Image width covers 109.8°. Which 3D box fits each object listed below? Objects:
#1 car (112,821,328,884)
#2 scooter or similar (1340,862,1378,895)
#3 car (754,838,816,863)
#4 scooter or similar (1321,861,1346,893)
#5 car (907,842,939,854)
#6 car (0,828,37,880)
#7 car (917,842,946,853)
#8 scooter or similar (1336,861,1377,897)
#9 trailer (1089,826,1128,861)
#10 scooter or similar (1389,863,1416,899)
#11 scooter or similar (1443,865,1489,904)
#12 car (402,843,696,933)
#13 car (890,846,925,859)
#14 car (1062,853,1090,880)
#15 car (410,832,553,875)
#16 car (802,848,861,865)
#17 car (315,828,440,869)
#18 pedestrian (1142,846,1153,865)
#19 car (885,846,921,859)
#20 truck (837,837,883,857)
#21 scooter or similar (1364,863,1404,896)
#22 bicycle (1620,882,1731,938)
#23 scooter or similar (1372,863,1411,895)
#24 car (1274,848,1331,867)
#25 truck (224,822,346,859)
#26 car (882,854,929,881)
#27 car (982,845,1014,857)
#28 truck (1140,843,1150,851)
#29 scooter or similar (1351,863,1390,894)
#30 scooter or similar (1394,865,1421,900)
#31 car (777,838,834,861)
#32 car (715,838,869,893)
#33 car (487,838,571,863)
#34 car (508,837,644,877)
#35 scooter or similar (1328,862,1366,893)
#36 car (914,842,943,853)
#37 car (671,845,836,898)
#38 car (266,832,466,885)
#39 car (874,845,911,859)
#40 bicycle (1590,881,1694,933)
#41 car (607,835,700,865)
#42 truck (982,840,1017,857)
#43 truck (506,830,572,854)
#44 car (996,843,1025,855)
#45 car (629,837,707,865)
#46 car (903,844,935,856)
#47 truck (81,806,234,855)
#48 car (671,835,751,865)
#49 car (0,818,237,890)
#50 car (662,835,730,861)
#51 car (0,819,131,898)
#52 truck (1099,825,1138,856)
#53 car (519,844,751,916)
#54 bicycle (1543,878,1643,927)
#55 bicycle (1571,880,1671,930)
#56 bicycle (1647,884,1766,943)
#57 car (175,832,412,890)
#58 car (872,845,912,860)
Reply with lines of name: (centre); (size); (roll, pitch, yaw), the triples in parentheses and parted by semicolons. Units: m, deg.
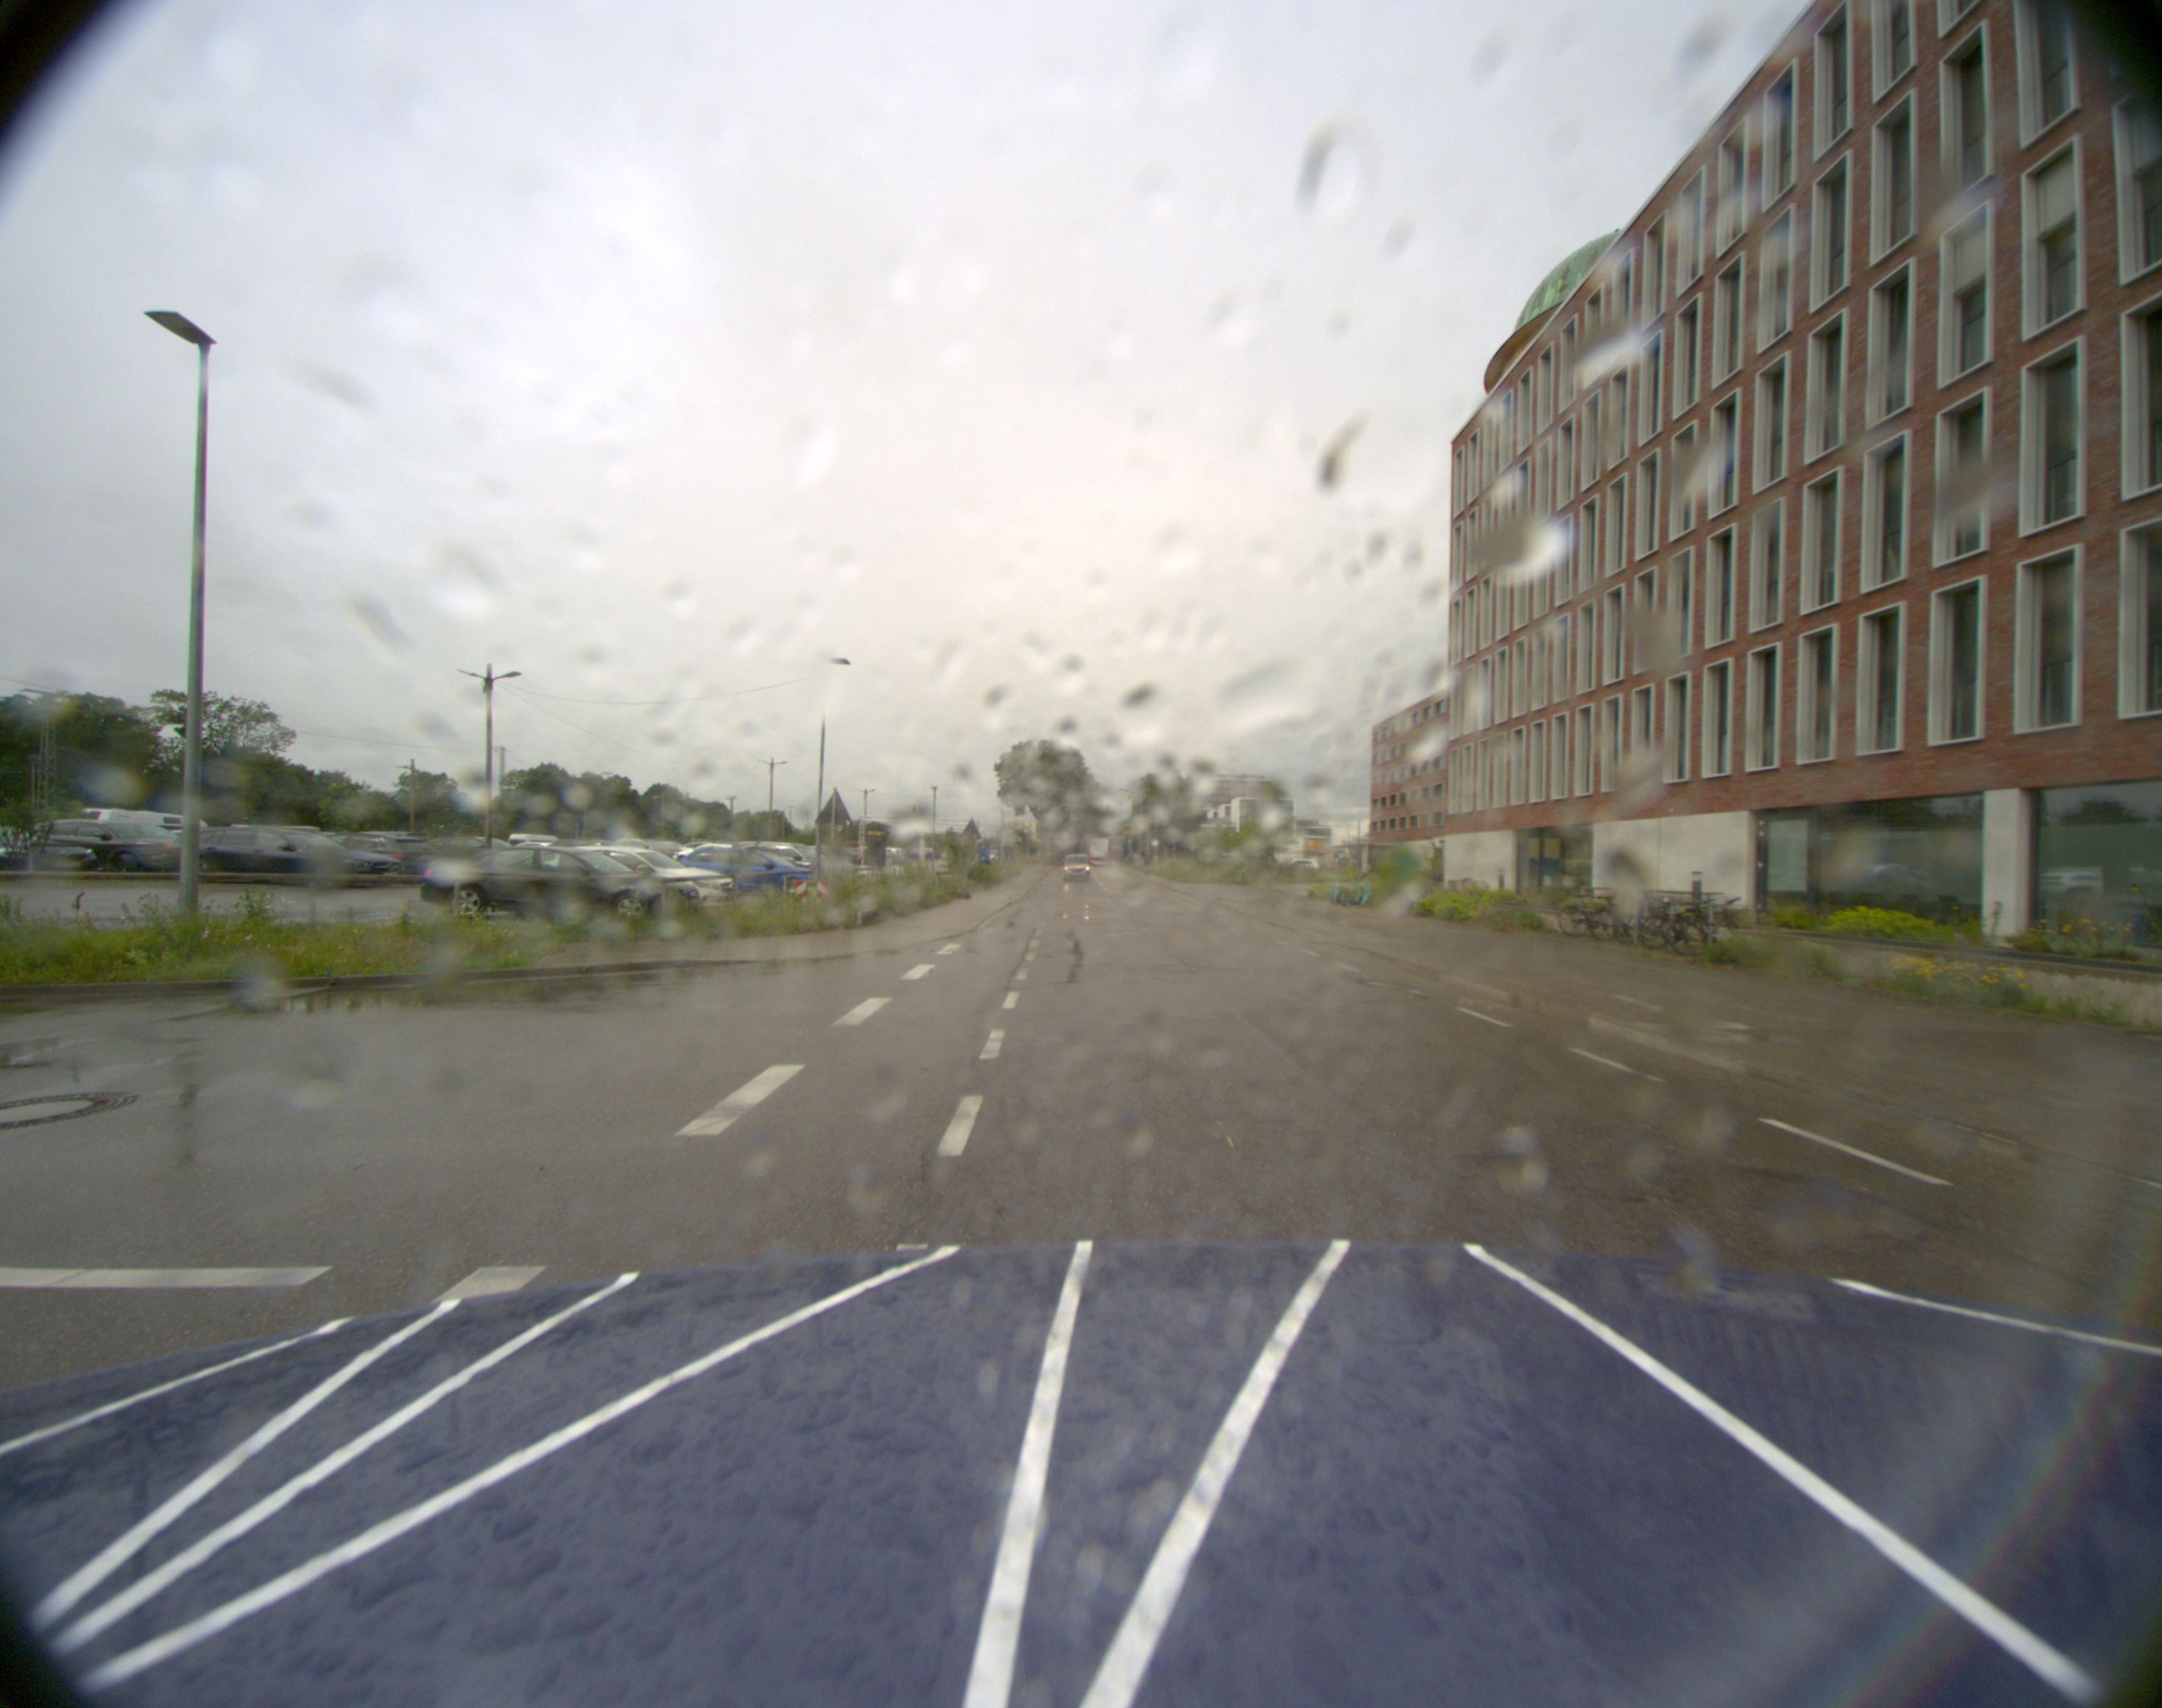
car: (-27.182, -0.067, 24.112); (4.453, 1.663, 2.043); (3, 2, -1)
scooter or similar: (10.666, 0.931, 29.182); (0.468, 1.223, 1.317); (2, 1, -29)
car: (-22.184, -0.286, 57.006); (3.912, 1.575, 1.786); (4, 2, 2)
scooter or similar: (10.115, 0.921, 30.465); (0.467, 1.223, 1.320); (2, 0, -4)
car: (-22.597, -0.877, 108.560); (4.075, 1.482, 1.925); (3, 2, 1)
car: (-38.316, -0.056, 25.283); (4.001, 1.718, 1.896); (2, 0, -10)
car: (-23.025, -1.004, 117.332); (3.996, 1.441, 1.842); (3, 2, 1)
scooter or similar: (10.075, 0.902, 27.836); (1.317, 1.223, 0.468); (2, 1, 28)
trailer: (4.089, -1.398, 109.117); (3.299, 4.627, 13.744); (2, 1, 11)
scooter or similar: (11.546, 0.965, 27.262); (0.466, 1.223, 1.211); (3, 1, 42)
scooter or similar: (12.481, 0.991, 24.672); (1.228, 1.201, 0.418); (2, 1, 7)
car: (-10.088, 0.632, 14.756); (4.231, 1.392, 1.888); (3, 1, -9)
car: (-22.298, -0.169, 97.494); (3.961, 1.419, 1.886); (3, 2, 1)
car: (-0.373, 0.872, 52.534); (1.838, 1.713, 4.172); (2, -1, -1)
car: (-26.660, -0.053, 33.911); (4.714, 1.596, 2.043); (3, 2, -1)
car: (-22.249, 0.199, 67.976); (4.600, 1.214, 1.977); (3, 1, -2)
car: (-37.747, -0.302, 40.867); (4.796, 1.987, 2.021); (2, 0, 0)
pedestrian: (6.237, 0.148, 71.202); (0.911, 1.708, 1.026); (1, 1, -1)
car: (-22.149, -0.204, 94.432); (3.961, 1.419, 1.886); (3, 2, 1)
truck: (-28.350, -0.837, 97.631); (5.302, 2.354, 2.152); (2, 1, -1)
scooter or similar: (11.271, 0.952, 28.284); (1.321, 1.171, 0.467); (2, 1, -12)
bicycle: (12.021, 1.132, 15.387); (1.864, 1.071, 0.544); (0, 1, -2)
scooter or similar: (12.082, 0.973, 29.588); (1.319, 1.171, 0.467); (2, 1, 5)
car: (19.881, 0.309, 68.366); (4.534, 1.632, 1.999); (1, 1, -3)
truck: (-49.698, -0.791, 47.609); (2.076, 2.125, 5.085); (2, 0, 4)
car: (-10.200, 0.762, 44.398); (1.900, 1.448, 4.226); (1, 0, -2)
car: (-10.365, -0.415, 94.930); (3.782, 1.385, 1.905); (0, 2, -3)
truck: (19.814, -2.226, 236.239); (2.090, 2.604, 6.975); (2, 1, -2)
scooter or similar: (11.475, 0.977, 30.143); (1.319, 1.171, 0.467); (2, 1, 5)
scooter or similar: (11.378, 0.985, 26.444); (0.466, 1.201, 1.211); (3, 1, 42)
car: (-21.604, -0.352, 59.682); (3.783, 1.575, 1.786); (4, 2, 2)
car: (-10.319, 0.382, 27.375); (4.691, 1.725, 2.128); (2, 2, 4)
car: (-38.239, -0.239, 52.714); (4.329, 1.580, 2.021); (2, 0, -1)
car: (-22.409, 0.114, 33.905); (4.633, 1.706, 2.017); (0, 2, -6)
scooter or similar: (10.909, 0.955, 31.145); (1.316, 1.223, 0.509); (2, 1, 38)
car: (-22.967, -0.984, 114.462); (3.961, 1.528, 1.807); (3, 2, 1)
car: (-10.012, 0.523, 23.488); (4.306, 1.508, 1.819); (1, 2, 0)
car: (-21.035, 0.097, 22.488); (3.997, 1.477, 1.999); (1, 2, 0)
car: (-22.788, -0.238, 91.917); (3.961, 1.419, 1.886); (3, 2, 1)
bicycle: (12.039, 1.131, 16.322); (1.864, 1.071, 0.544); (0, 1, -2)
car: (-26.689, -0.268, 47.555); (4.714, 1.596, 1.926); (3, 2, 0)
truck: (-12.003, -0.801, 112.416); (5.047, 2.389, 2.109); (0, 1, -3)
truck: (-48.763, -1.036, 68.509); (2.086, 2.002, 5.279); (2, 0, 1)
car: (-9.597, -0.752, 103.919); (3.906, 1.586, 1.896); (0, 2, -3)
car: (-27.333, -0.209, 50.353); (4.070, 1.596, 1.926); (3, 2, 0)
car: (-22.494, -0.574, 105.729); (3.961, 1.419, 1.821); (3, 2, 1)
truck: (-49.601, -1.200, 41.021); (2.077, 2.388, 5.083); (2, 0, -1)
car: (-22.312, -0.260, 45.935); (3.838, 1.476, 1.927); (4, 2, 2)
car: (-26.937, -0.027, 21.125); (4.454, 1.663, 2.042); (3, 2, -3)
car: (-28.537, -0.478, 56.407); (4.071, 1.650, 1.831); (3, 2, -2)
car: (-26.778, 0.029, 18.518); (4.454, 1.663, 2.042); (3, 2, -3)
truck: (5.821, -1.997, 116.256); (3.295, 4.627, 6.045); (2, 1, 31)
car: (-10.089, 0.553, 17.456); (4.192, 1.501, 1.890); (1, 2, 0)
bicycle: (12.005, 1.129, 17.834); (1.953, 1.071, 0.620); (0, 1, -2)
bicycle: (12.033, 1.124, 16.947); (1.864, 1.071, 0.544); (0, 1, -2)
bicycle: (12.003, 1.128, 14.596); (1.864, 1.071, 0.544); (0, 1, -2)
car: (-20.165, 0.148, 19.612); (3.997, 1.401, 1.999); (1, 2, 0)
car: (-21.408, -0.195, 86.216); (3.961, 1.481, 1.777); (3, 2, 1)
